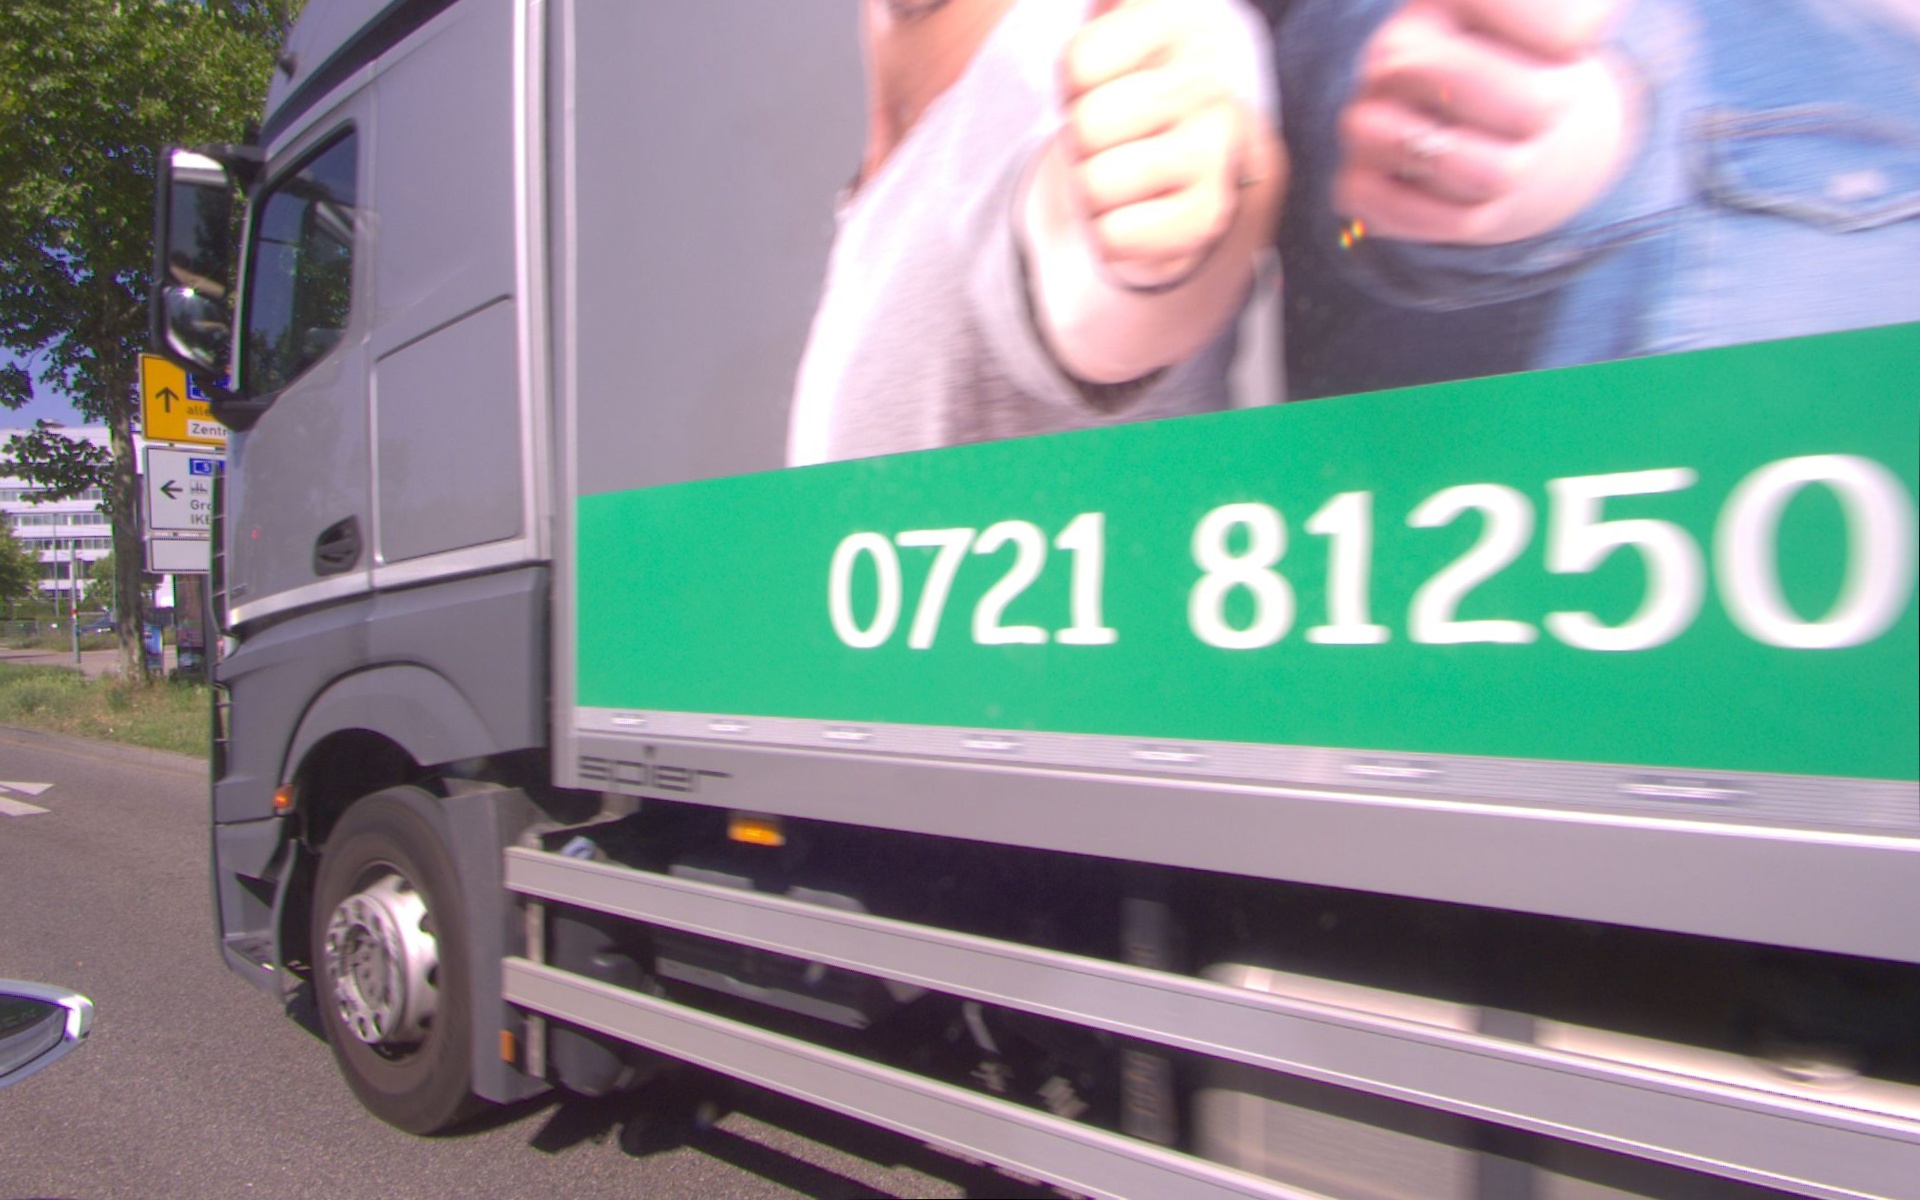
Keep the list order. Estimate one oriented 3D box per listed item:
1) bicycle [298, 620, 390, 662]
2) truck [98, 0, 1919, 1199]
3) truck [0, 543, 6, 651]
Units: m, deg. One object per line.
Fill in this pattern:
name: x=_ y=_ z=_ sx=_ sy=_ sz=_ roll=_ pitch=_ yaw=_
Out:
bicycle: x=-16.305 y=1.069 z=26.534 sx=1.985 sy=1.027 sz=0.615 roll=-1 pitch=1 yaw=-41
truck: x=1.318 y=-0.567 z=2.122 sx=8.606 sy=3.940 sz=2.722 roll=-1 pitch=-1 yaw=35
truck: x=-33.112 y=-0.230 z=30.602 sx=2.869 sy=3.689 sz=7.176 roll=0 pitch=-2 yaw=-18
